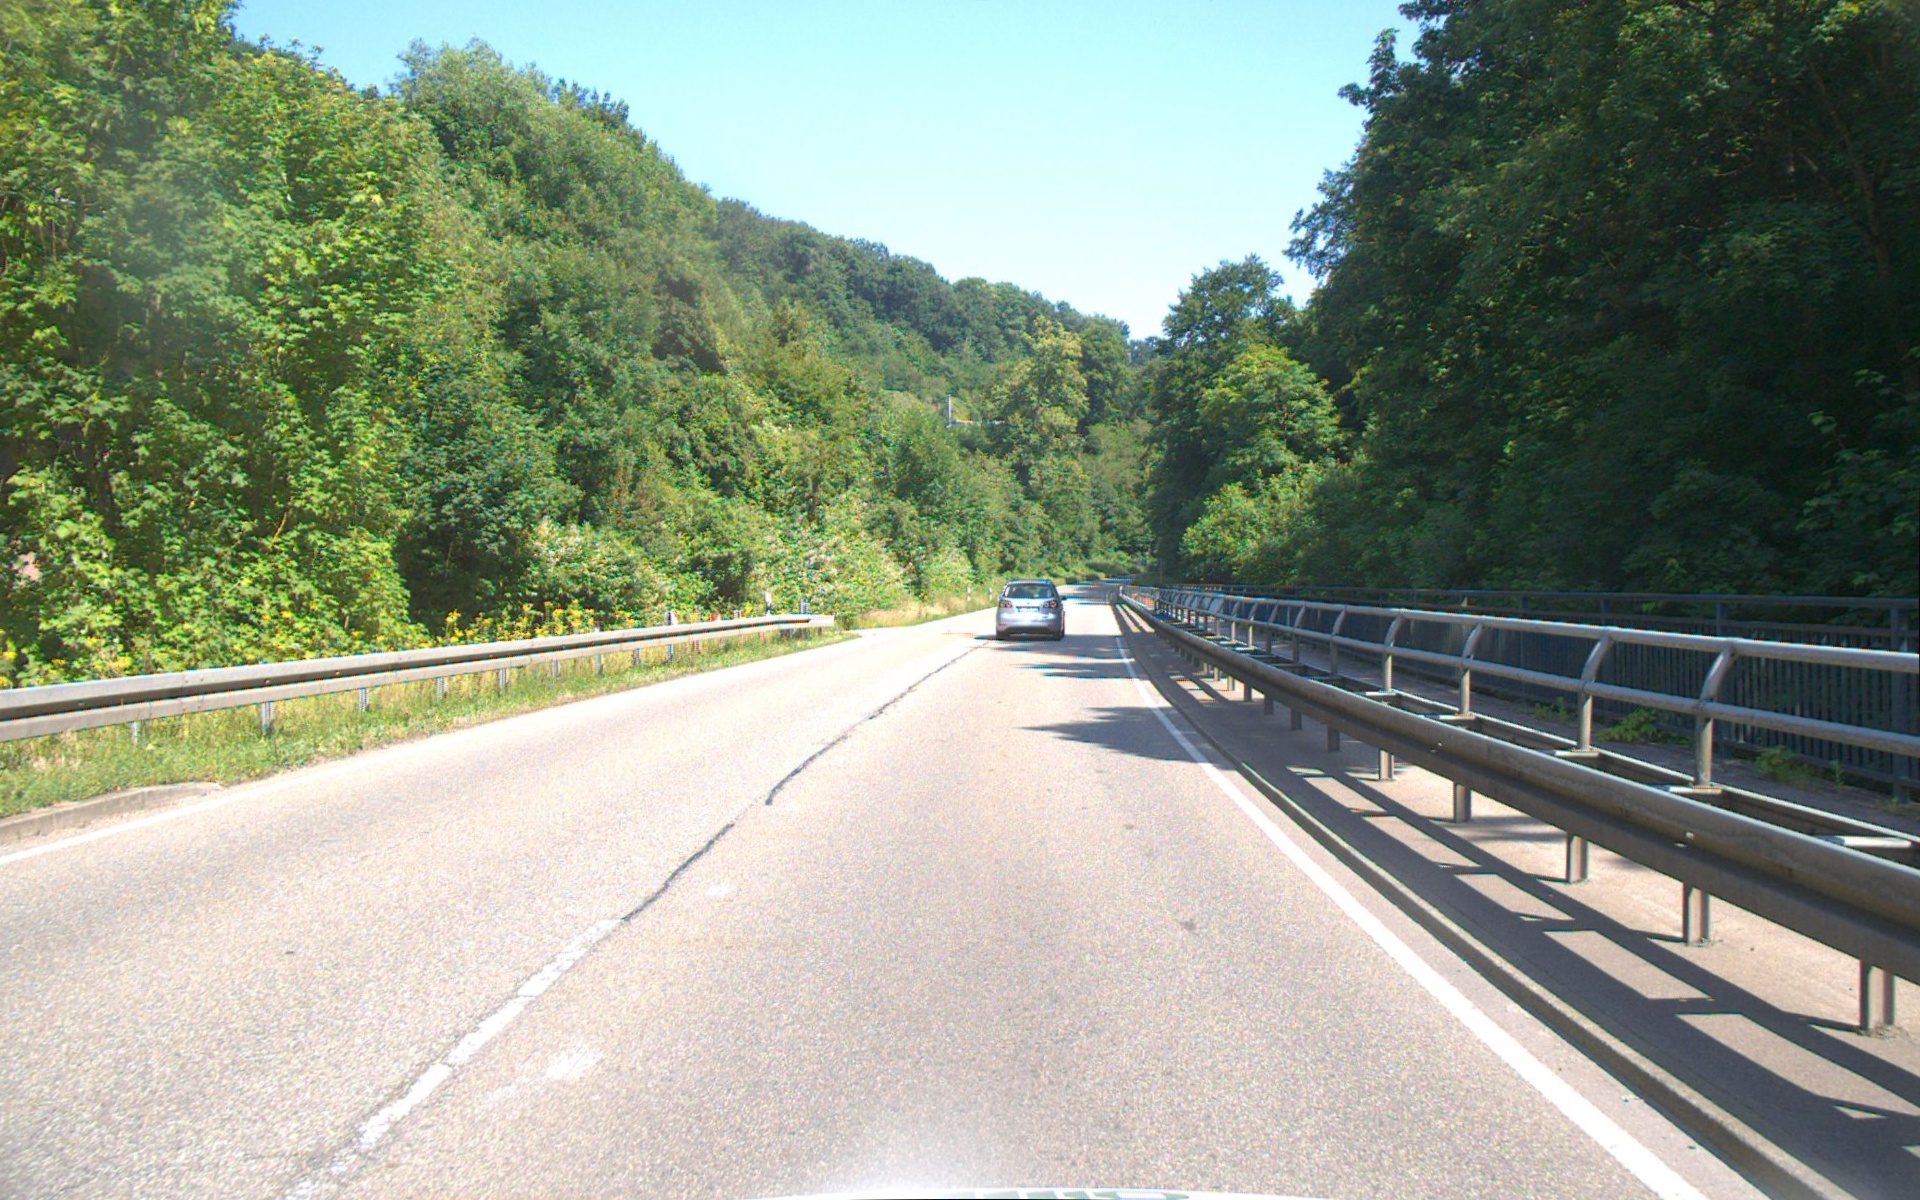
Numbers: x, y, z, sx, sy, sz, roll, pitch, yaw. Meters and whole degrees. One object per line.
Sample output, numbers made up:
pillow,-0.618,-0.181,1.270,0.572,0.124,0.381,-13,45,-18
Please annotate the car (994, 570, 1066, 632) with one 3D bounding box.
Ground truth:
car,1.905,-0.012,44.205,1.714,1.546,4.162,1,1,5
